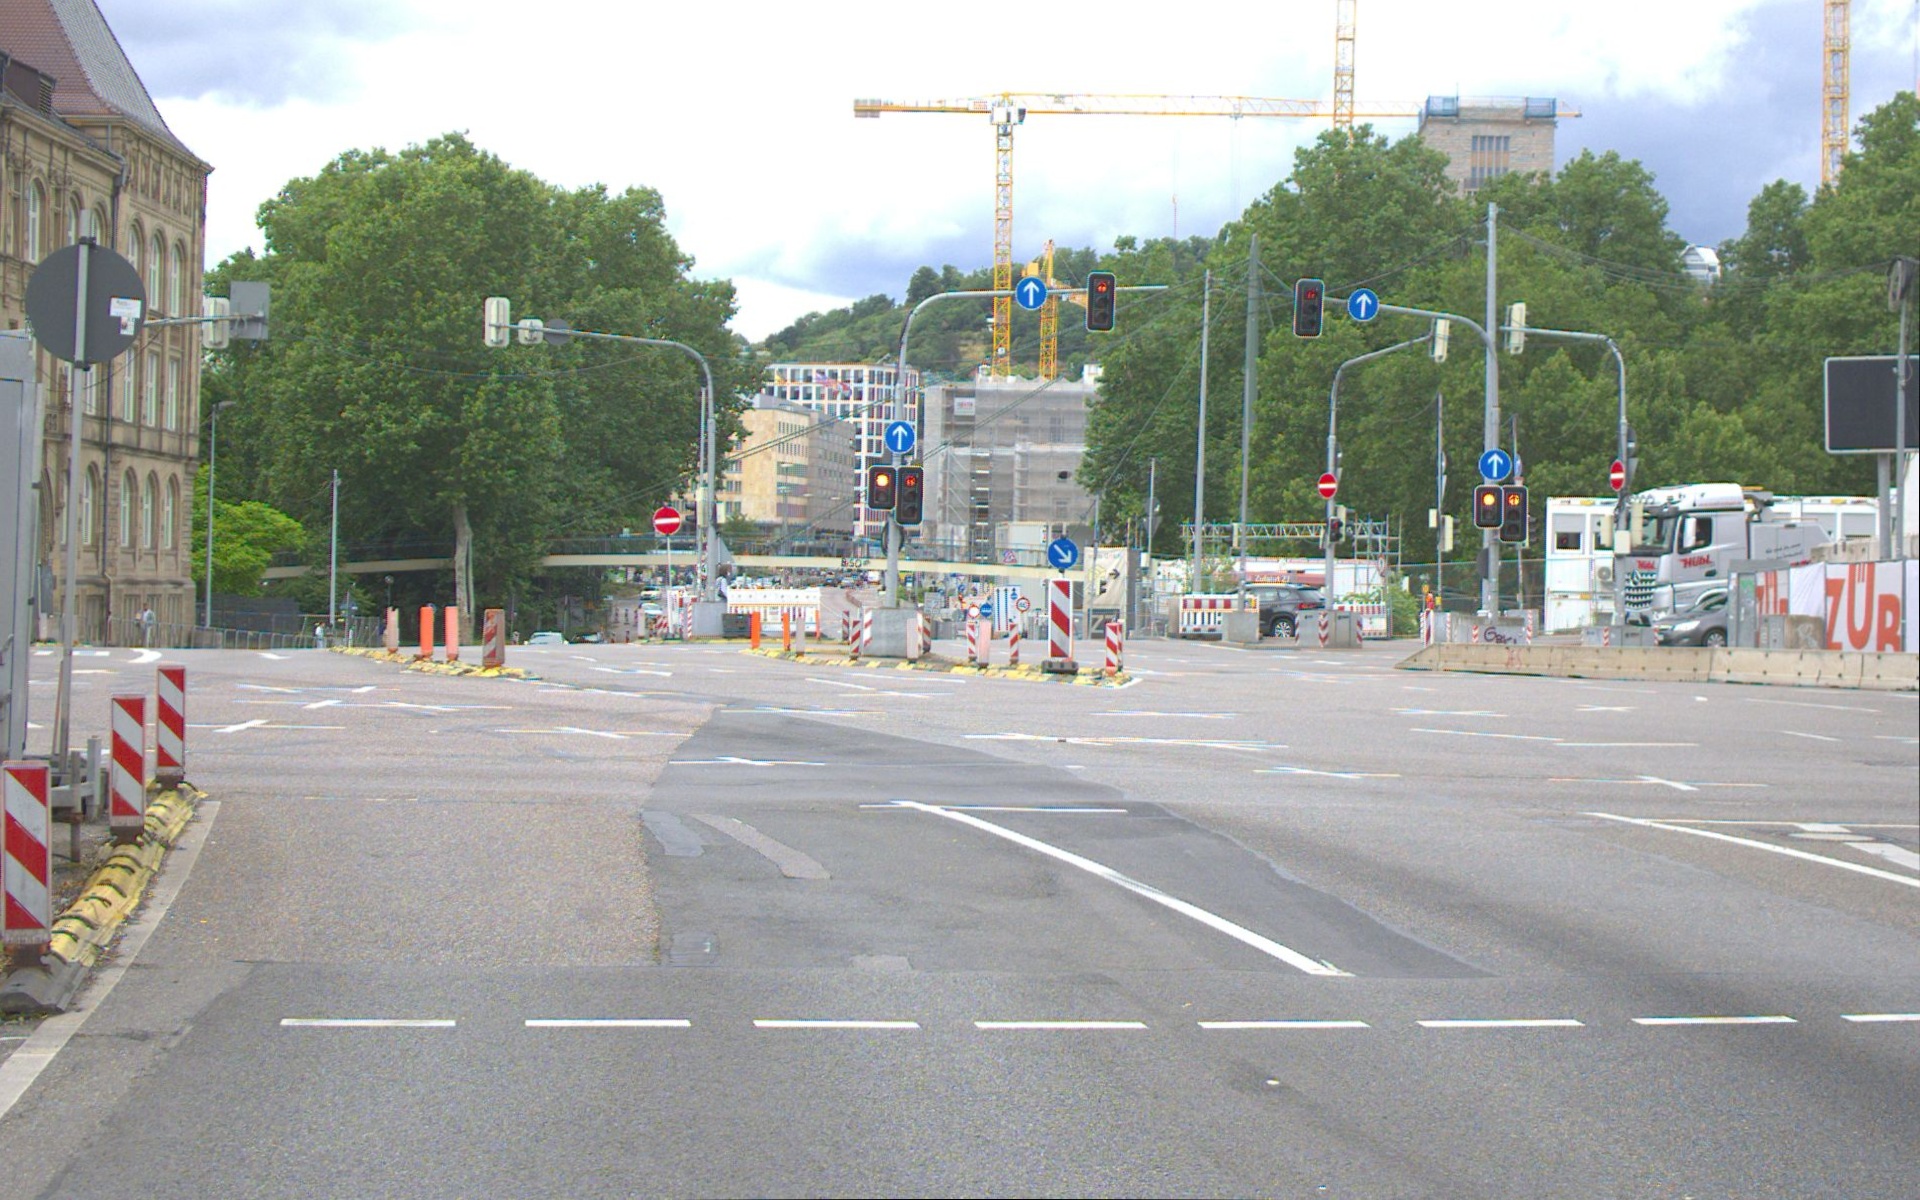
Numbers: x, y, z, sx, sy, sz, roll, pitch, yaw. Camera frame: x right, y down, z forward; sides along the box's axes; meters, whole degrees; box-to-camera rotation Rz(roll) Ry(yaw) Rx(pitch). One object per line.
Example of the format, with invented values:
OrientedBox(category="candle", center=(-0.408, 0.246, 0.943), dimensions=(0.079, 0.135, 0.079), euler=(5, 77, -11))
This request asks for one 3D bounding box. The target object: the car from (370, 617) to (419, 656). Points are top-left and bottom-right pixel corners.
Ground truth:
OrientedBox(category="car", center=(-28.268, 1.815, 171.989), dimensions=(1.993, 1.831, 4.001), euler=(1, 1, -3))

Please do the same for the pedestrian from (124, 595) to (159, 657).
OrientedBox(category="pedestrian", center=(-26.883, 0.844, 112.930), dimensions=(0.950, 2.007, 0.766), euler=(1, 0, 2))

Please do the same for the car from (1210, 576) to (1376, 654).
OrientedBox(category="car", center=(8.978, 0.395, 92.710), dimensions=(3.992, 2.007, 1.997), euler=(1, 1, 26))

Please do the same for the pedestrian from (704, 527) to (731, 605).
OrientedBox(category="pedestrian", center=(-5.704, -0.802, 80.866), dimensions=(0.585, 1.834, 0.604), euler=(1, 0, -4))

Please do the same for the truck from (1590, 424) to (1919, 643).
OrientedBox(category="truck", center=(19.981, -1.500, 80.993), dimensions=(9.712, 4.943, 3.114), euler=(1, 0, -18))
